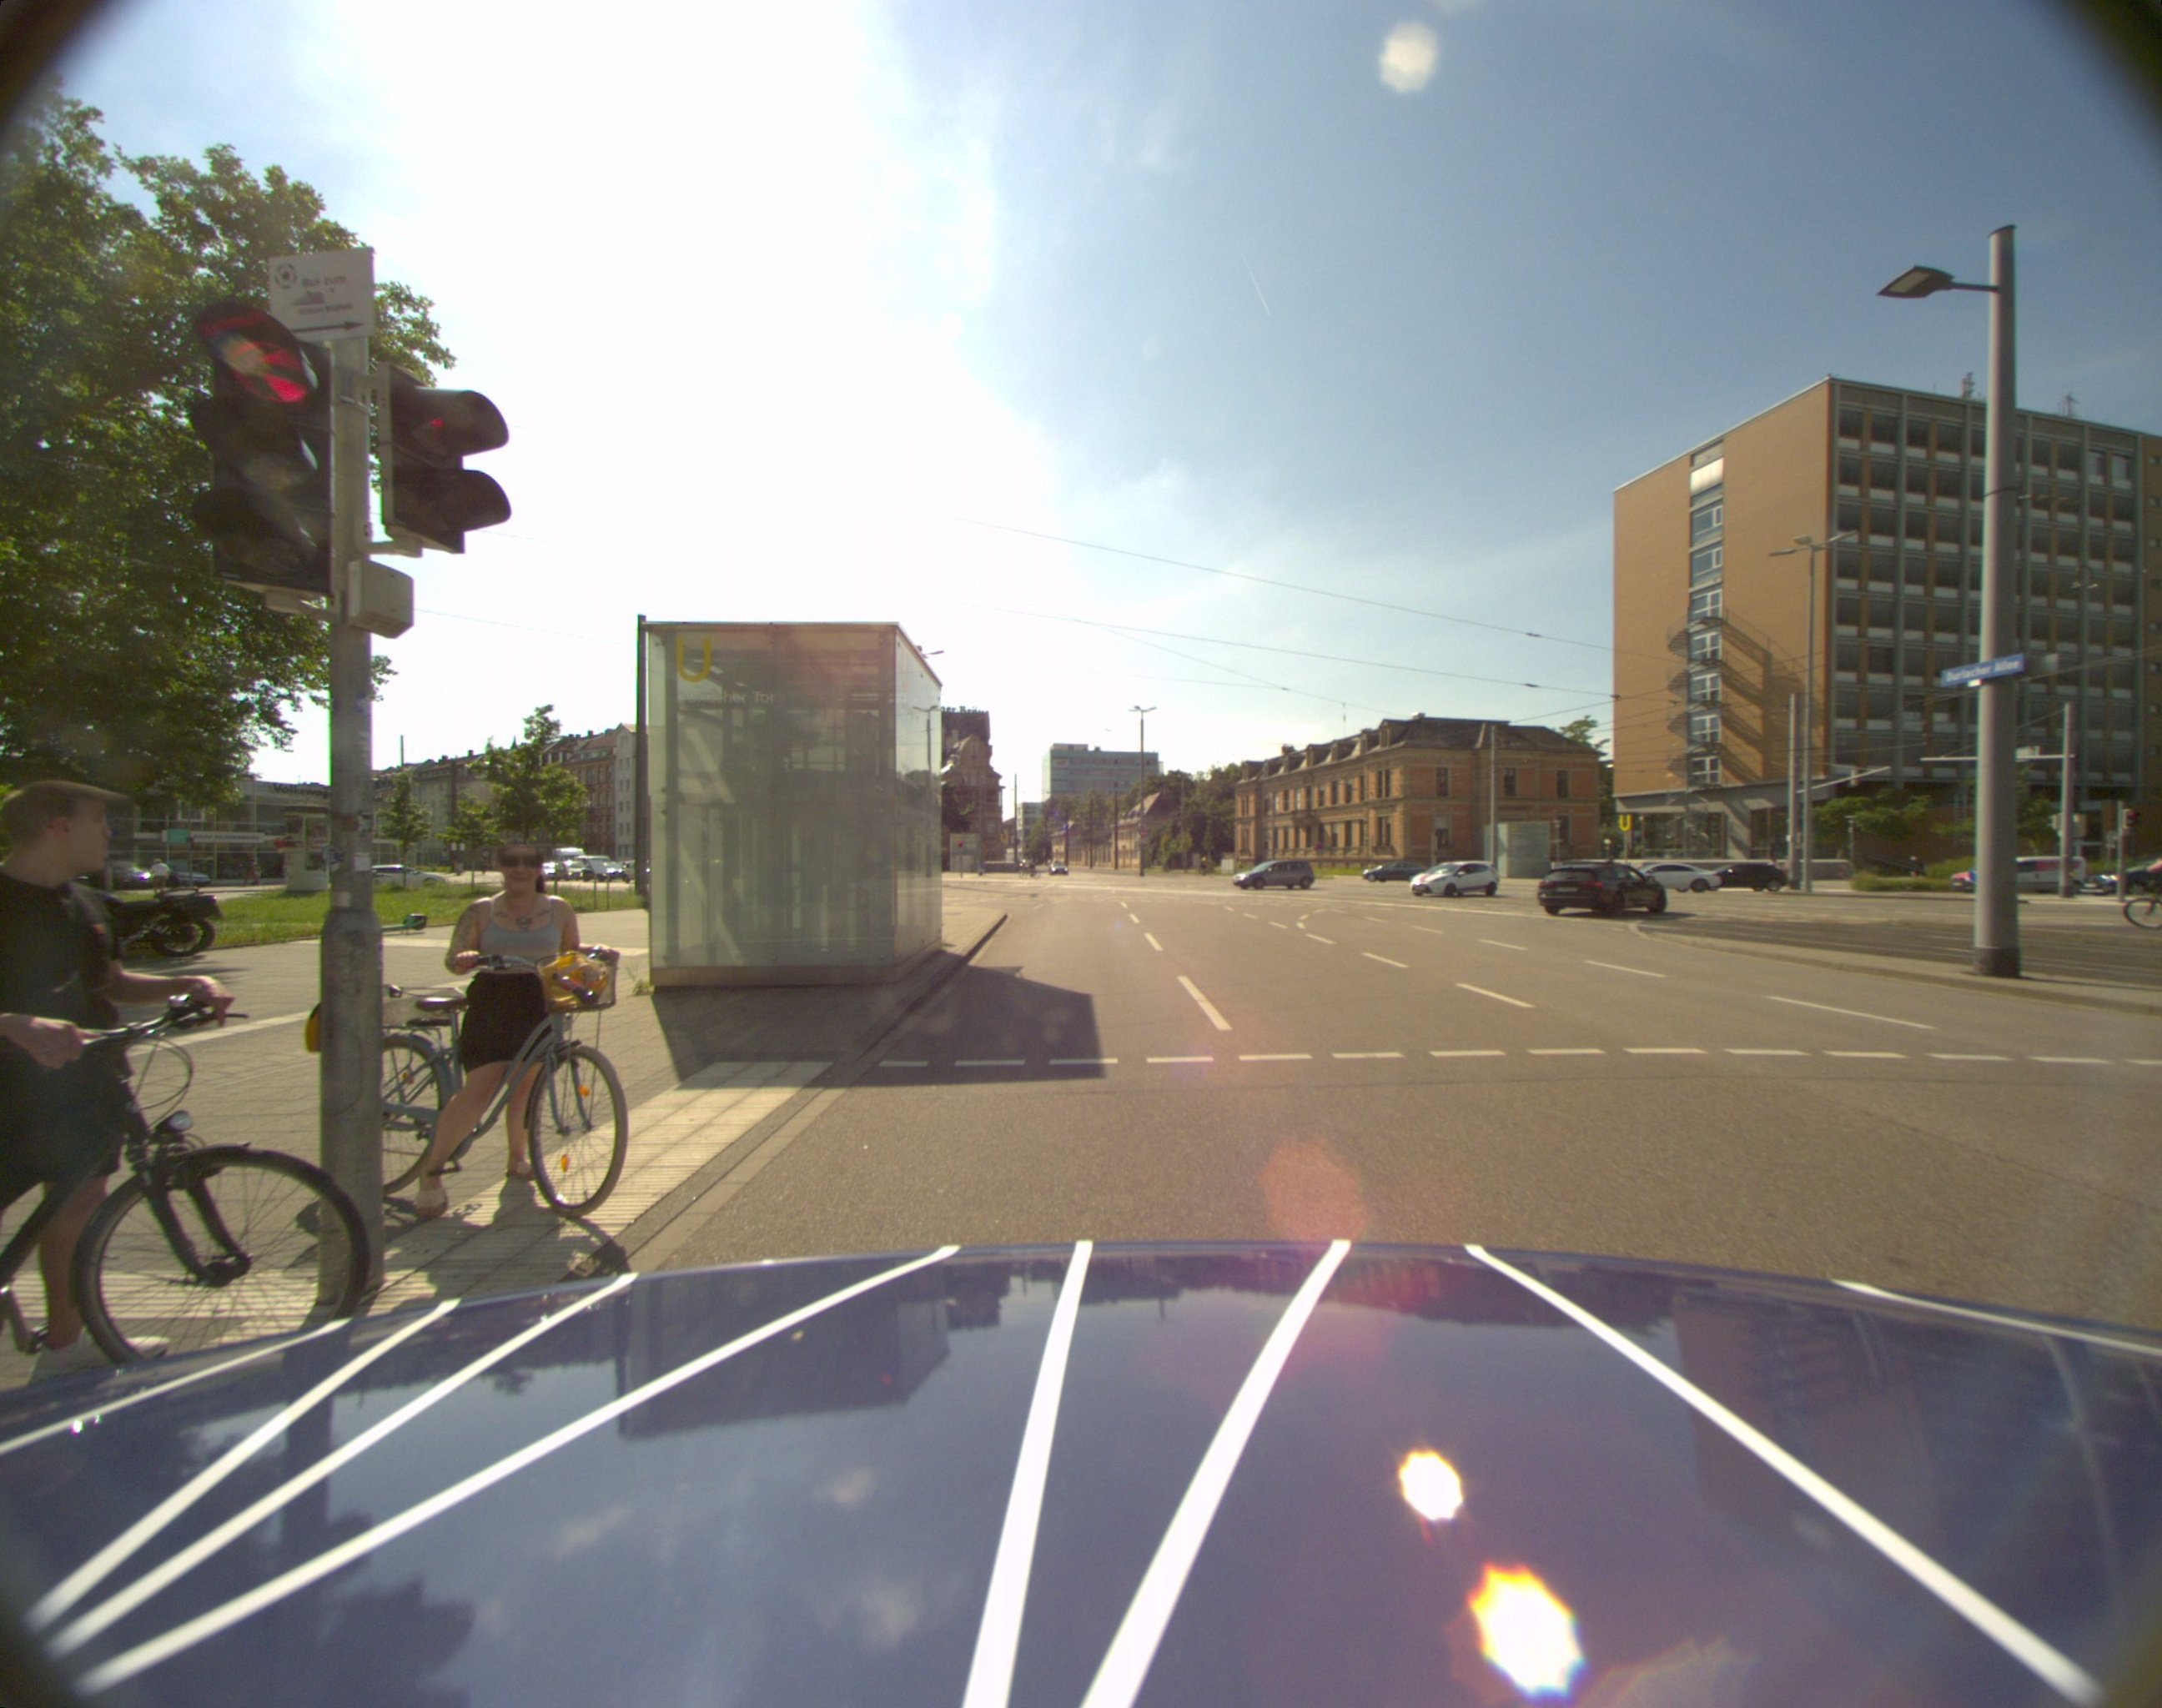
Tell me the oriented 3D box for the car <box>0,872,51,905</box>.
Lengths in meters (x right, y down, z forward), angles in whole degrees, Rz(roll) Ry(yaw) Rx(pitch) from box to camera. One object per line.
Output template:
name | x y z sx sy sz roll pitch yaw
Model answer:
car | -48.658 1.503 32.813 1.968 1.427 4.608 -1 -2 22

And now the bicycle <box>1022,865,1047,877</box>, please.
bicycle | -3.839 1.377 62.396 2.020 1.009 0.716 0 -2 -7

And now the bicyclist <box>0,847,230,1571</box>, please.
bicyclist | -2.919 0.849 2.005 0.617 1.725 0.583 -1 1 -5

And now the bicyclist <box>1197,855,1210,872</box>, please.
bicyclist | 10.382 0.784 64.345 0.907 1.411 0.686 -1 -2 28

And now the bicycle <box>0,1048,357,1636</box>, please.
bicycle | -3.032 1.151 1.873 1.796 1.124 0.583 -1 1 -5

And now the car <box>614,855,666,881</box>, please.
car | -34.845 1.123 60.022 4.189 1.905 1.904 -2 -1 35

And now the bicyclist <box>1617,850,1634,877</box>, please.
bicyclist | 33.458 0.583 46.694 0.780 1.615 0.670 0 1 41

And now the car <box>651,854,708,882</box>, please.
car | -29.387 1.025 55.605 4.189 1.905 1.904 -2 -1 35

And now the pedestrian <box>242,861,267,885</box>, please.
pedestrian | -53.602 1.232 49.284 0.533 1.570 0.958 -1 -2 15

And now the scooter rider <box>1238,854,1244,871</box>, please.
scooter rider | 13.484 0.721 64.138 0.406 1.388 0.589 -1 -2 18

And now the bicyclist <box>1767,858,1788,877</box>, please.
bicyclist | 39.112 0.736 42.653 0.918 1.023 0.714 -3 2 -38

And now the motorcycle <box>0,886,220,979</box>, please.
motorcycle | -13.118 1.005 10.147 0.639 1.055 2.042 0 0 26

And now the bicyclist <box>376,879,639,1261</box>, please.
bicyclist | -2.671 0.914 3.598 0.612 1.563 0.734 -1 1 19

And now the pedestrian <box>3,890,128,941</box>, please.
pedestrian | -19.517 1.161 14.645 0.822 0.887 1.176 0 0 -1

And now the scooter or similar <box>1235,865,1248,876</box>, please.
scooter or similar | 13.527 1.394 64.112 0.990 0.970 0.589 -1 -2 18

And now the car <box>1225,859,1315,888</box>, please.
car | 9.580 1.001 38.672 4.121 1.415 1.650 0 -2 -12

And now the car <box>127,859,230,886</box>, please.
car | -56.437 1.163 47.587 3.998 1.608 1.825 0 -2 -4

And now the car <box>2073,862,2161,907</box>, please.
car | 44.335 1.247 31.197 3.992 1.783 1.967 0 0 16

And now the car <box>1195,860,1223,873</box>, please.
car | 13.623 1.327 81.089 1.673 1.305 3.447 0 0 -15

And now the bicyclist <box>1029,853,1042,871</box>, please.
bicyclist | -3.742 0.675 62.432 0.950 1.478 0.716 0 -2 -8

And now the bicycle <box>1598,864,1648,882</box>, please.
bicycle | 33.420 1.134 46.910 2.456 1.063 0.670 0 0 41

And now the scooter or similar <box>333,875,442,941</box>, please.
scooter or similar | -12.581 0.951 13.821 0.516 1.113 1.367 0 0 28

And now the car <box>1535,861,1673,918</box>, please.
car | 14.745 0.929 21.354 4.431 1.447 1.755 1 0 -35

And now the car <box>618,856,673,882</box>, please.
car | -30.092 1.052 52.453 4.189 1.728 1.660 -2 0 35

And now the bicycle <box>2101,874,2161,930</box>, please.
bicycle | 22.573 1.014 15.654 0.750 1.078 1.849 0 2 7

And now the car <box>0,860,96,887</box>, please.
car | -56.986 1.094 41.839 3.992 1.477 2.003 -1 -2 16

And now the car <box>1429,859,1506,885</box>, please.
car | 22.563 1.014 44.453 3.752 1.466 1.685 0 0 15

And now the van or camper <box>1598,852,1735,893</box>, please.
van or camper | 28.168 0.866 36.760 4.911 1.876 1.924 0 0 20

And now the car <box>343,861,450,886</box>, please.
car | -41.918 1.234 46.657 1.440 1.427 4.610 -1 -2 32

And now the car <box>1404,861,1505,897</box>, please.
car | 15.457 0.998 31.426 3.868 1.406 1.653 0 0 -24

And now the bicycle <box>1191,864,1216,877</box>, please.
bicycle | 10.361 1.409 64.331 2.020 1.062 0.686 -1 -2 28

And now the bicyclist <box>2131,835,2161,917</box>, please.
bicyclist | 22.579 0.452 15.652 0.750 1.675 0.777 0 2 7

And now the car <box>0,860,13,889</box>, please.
car | -57.891 1.050 39.192 3.992 1.477 2.003 -1 -2 16

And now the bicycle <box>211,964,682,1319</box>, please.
bicycle | -2.810 1.138 3.396 1.793 1.124 0.755 -1 1 18

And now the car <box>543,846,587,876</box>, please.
car | -48.289 0.714 71.039 5.859 2.559 2.221 -2 -3 44

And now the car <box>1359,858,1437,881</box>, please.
car | 21.069 1.006 50.569 4.515 1.427 1.639 0 0 43

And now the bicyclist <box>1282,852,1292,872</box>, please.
bicyclist | 16.558 0.625 61.037 0.648 1.611 0.503 0 -2 23

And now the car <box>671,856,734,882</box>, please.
car | -23.893 0.968 47.931 3.989 1.578 1.904 -2 -1 35

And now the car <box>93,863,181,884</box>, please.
car | -55.609 1.151 44.763 3.992 1.187 1.839 -1 -2 17

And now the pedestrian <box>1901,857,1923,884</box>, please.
pedestrian | 52.475 1.036 48.006 0.730 1.654 0.594 -1 2 18

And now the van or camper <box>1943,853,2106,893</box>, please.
van or camper | 45.843 0.910 37.036 4.913 1.877 1.732 0 0 14

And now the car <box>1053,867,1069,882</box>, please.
car | -2.065 2.159 79.561 1.637 1.574 4.001 0 -2 -2

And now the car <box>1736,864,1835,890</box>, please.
car | 37.118 1.206 40.139 3.572 1.287 1.412 0 0 24
